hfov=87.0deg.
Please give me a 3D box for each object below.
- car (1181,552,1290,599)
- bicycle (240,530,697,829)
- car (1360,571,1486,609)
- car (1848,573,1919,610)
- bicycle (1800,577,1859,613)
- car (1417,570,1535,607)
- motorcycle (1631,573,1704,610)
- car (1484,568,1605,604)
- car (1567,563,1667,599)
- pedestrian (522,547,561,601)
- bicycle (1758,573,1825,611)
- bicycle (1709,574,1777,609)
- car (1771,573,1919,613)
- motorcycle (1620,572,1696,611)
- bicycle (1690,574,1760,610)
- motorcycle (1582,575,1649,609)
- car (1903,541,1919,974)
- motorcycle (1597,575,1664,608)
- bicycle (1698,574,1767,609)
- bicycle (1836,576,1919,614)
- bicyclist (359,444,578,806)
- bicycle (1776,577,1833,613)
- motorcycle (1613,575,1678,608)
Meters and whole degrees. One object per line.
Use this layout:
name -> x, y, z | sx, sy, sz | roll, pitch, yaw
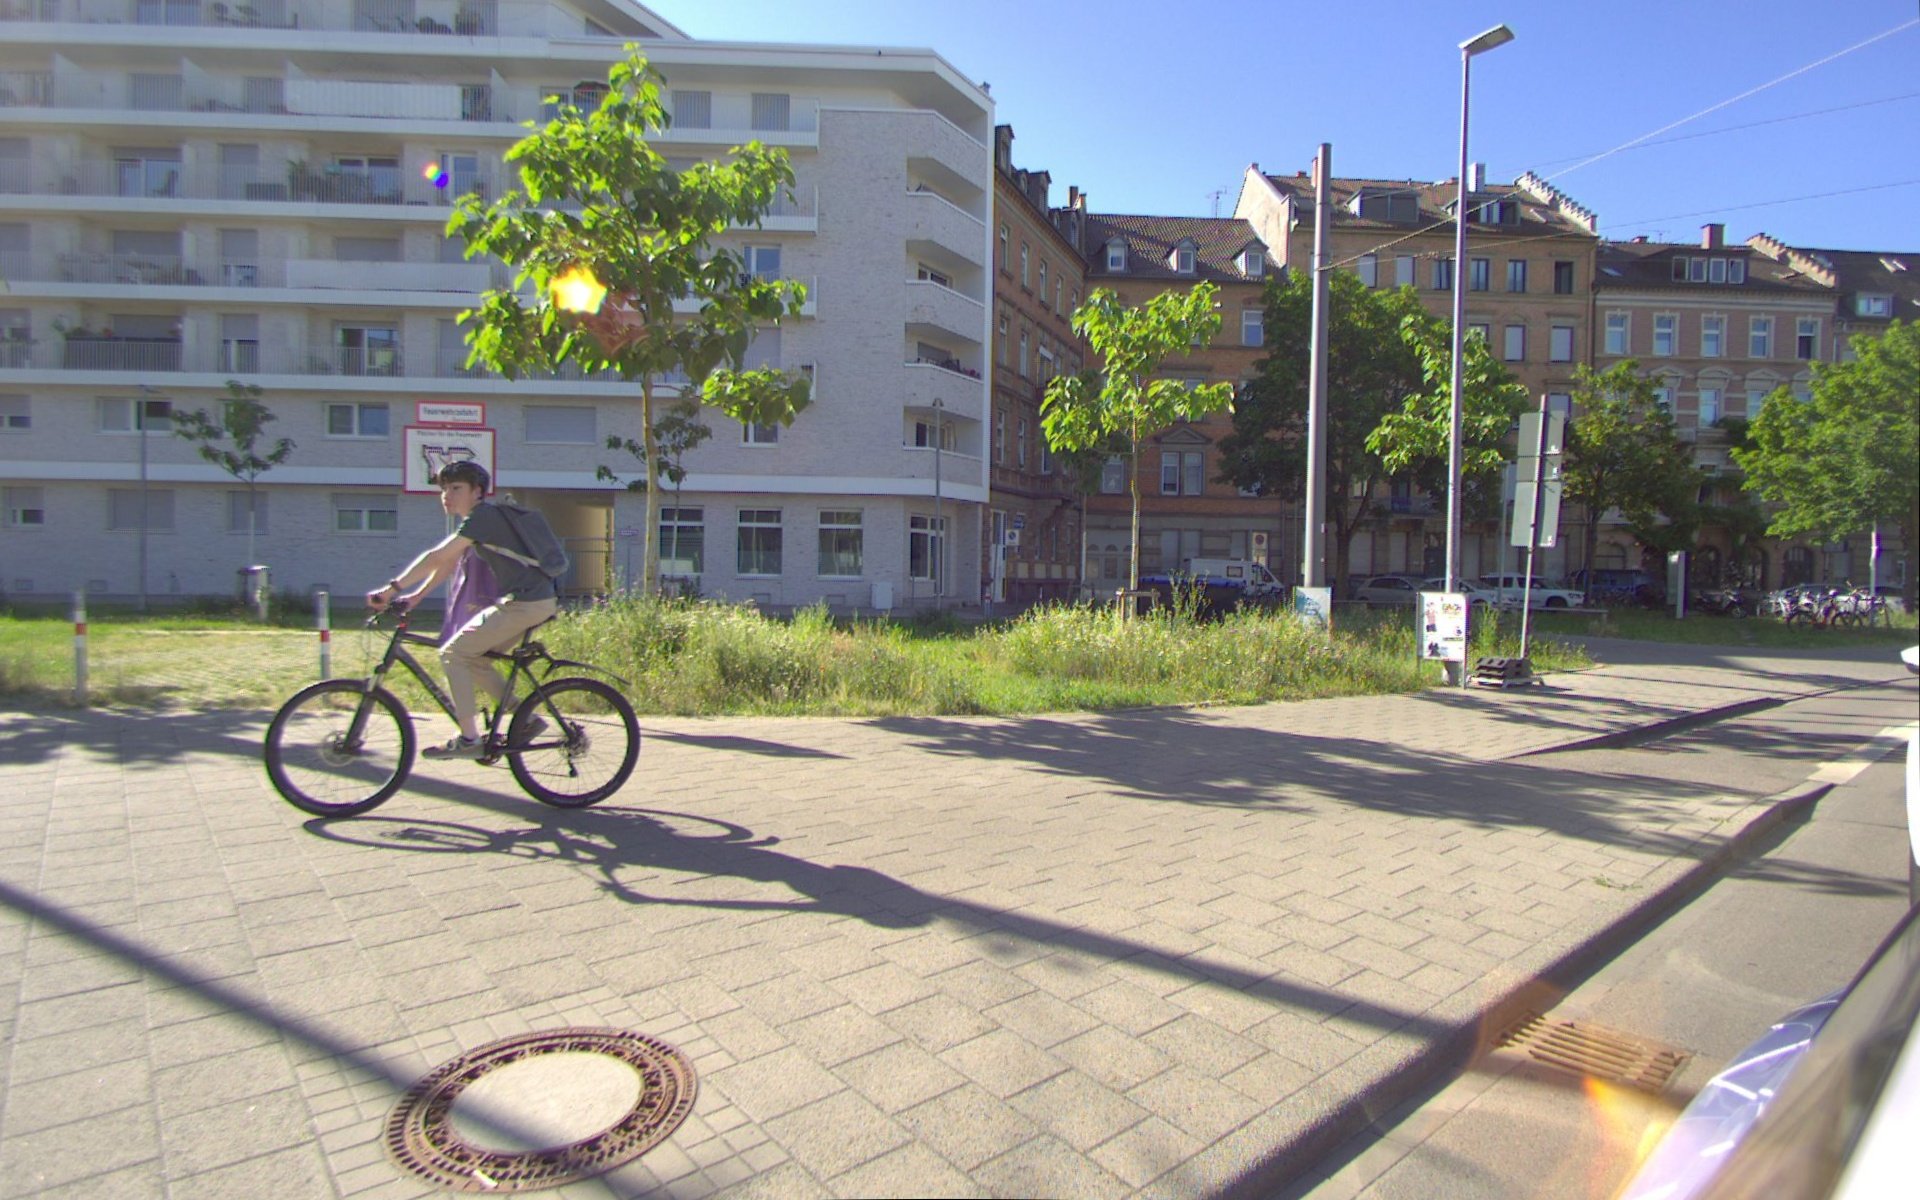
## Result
car -> 12.660, -1.154, 46.784 | 4.416, 2.062, 2.054 | 1, 2, 0
bicycle -> -2.476, 0.359, 5.343 | 2.031, 1.378, 0.739 | 0, 1, -20
car -> 17.348, -0.421, 38.108 | 1.648, 1.267, 4.170 | 0, 3, -28
car -> 37.821, -0.328, 39.961 | 1.649, 1.423, 3.832 | -1, 3, -32
bicycle -> 32.034, -0.192, 37.334 | 0.653, 1.284, 2.196 | 0, 0, 12
car -> 19.671, -0.467, 38.718 | 1.648, 1.267, 3.709 | 0, 3, -28
motorcycle -> 26.153, -0.320, 37.469 | 0.649, 1.339, 2.208 | 0, 0, -23
car -> 22.328, -0.578, 38.774 | 1.513, 1.267, 3.700 | -1, 3, -39
car -> 30.875, -0.919, 47.650 | 3.631, 1.607, 1.552 | 1, 2, 0
pedestrian -> -13.776, -0.863, 33.359 | 0.829, 1.717, 0.985 | 2, 2, 2
bicycle -> 29.273, -0.291, 35.673 | 0.651, 1.284, 2.202 | 0, 0, 4
bicycle -> 29.723, -0.325, 38.463 | 0.649, 1.284, 2.208 | 0, 0, -9
car -> 34.684, -0.319, 39.592 | 1.651, 1.423, 4.324 | -1, 3, -38
motorcycle -> 25.337, -0.305, 36.780 | 0.650, 1.347, 2.207 | 0, 0, -28
bicycle -> 28.368, -0.309, 37.565 | 0.649, 1.284, 2.208 | 0, 0, -11
motorcycle -> 26.025, -0.327, 40.226 | 0.649, 1.293, 2.324 | 0, 0, -18
car -> 5.866, 0.607, 4.718 | 4.323, 1.667, 1.840 | 0, 0, -43
motorcycle -> 26.696, -0.335, 40.357 | 0.649, 1.300, 2.324 | 0, 0, -18
bicycle -> 29.080, -0.319, 38.152 | 0.649, 1.284, 2.208 | 0, 0, -9
bicycle -> 31.628, -0.165, 34.763 | 2.180, 1.284, 0.657 | 0, 0, 25
bicyclist -> -2.522, 0.111, 5.307 | 0.951, 1.715, 0.737 | 0, 1, -20
bicycle -> 30.939, -0.184, 37.110 | 0.653, 1.284, 2.196 | 0, 0, 12
motorcycle -> 27.487, -0.334, 40.611 | 0.649, 1.284, 2.209 | 0, 0, -18
